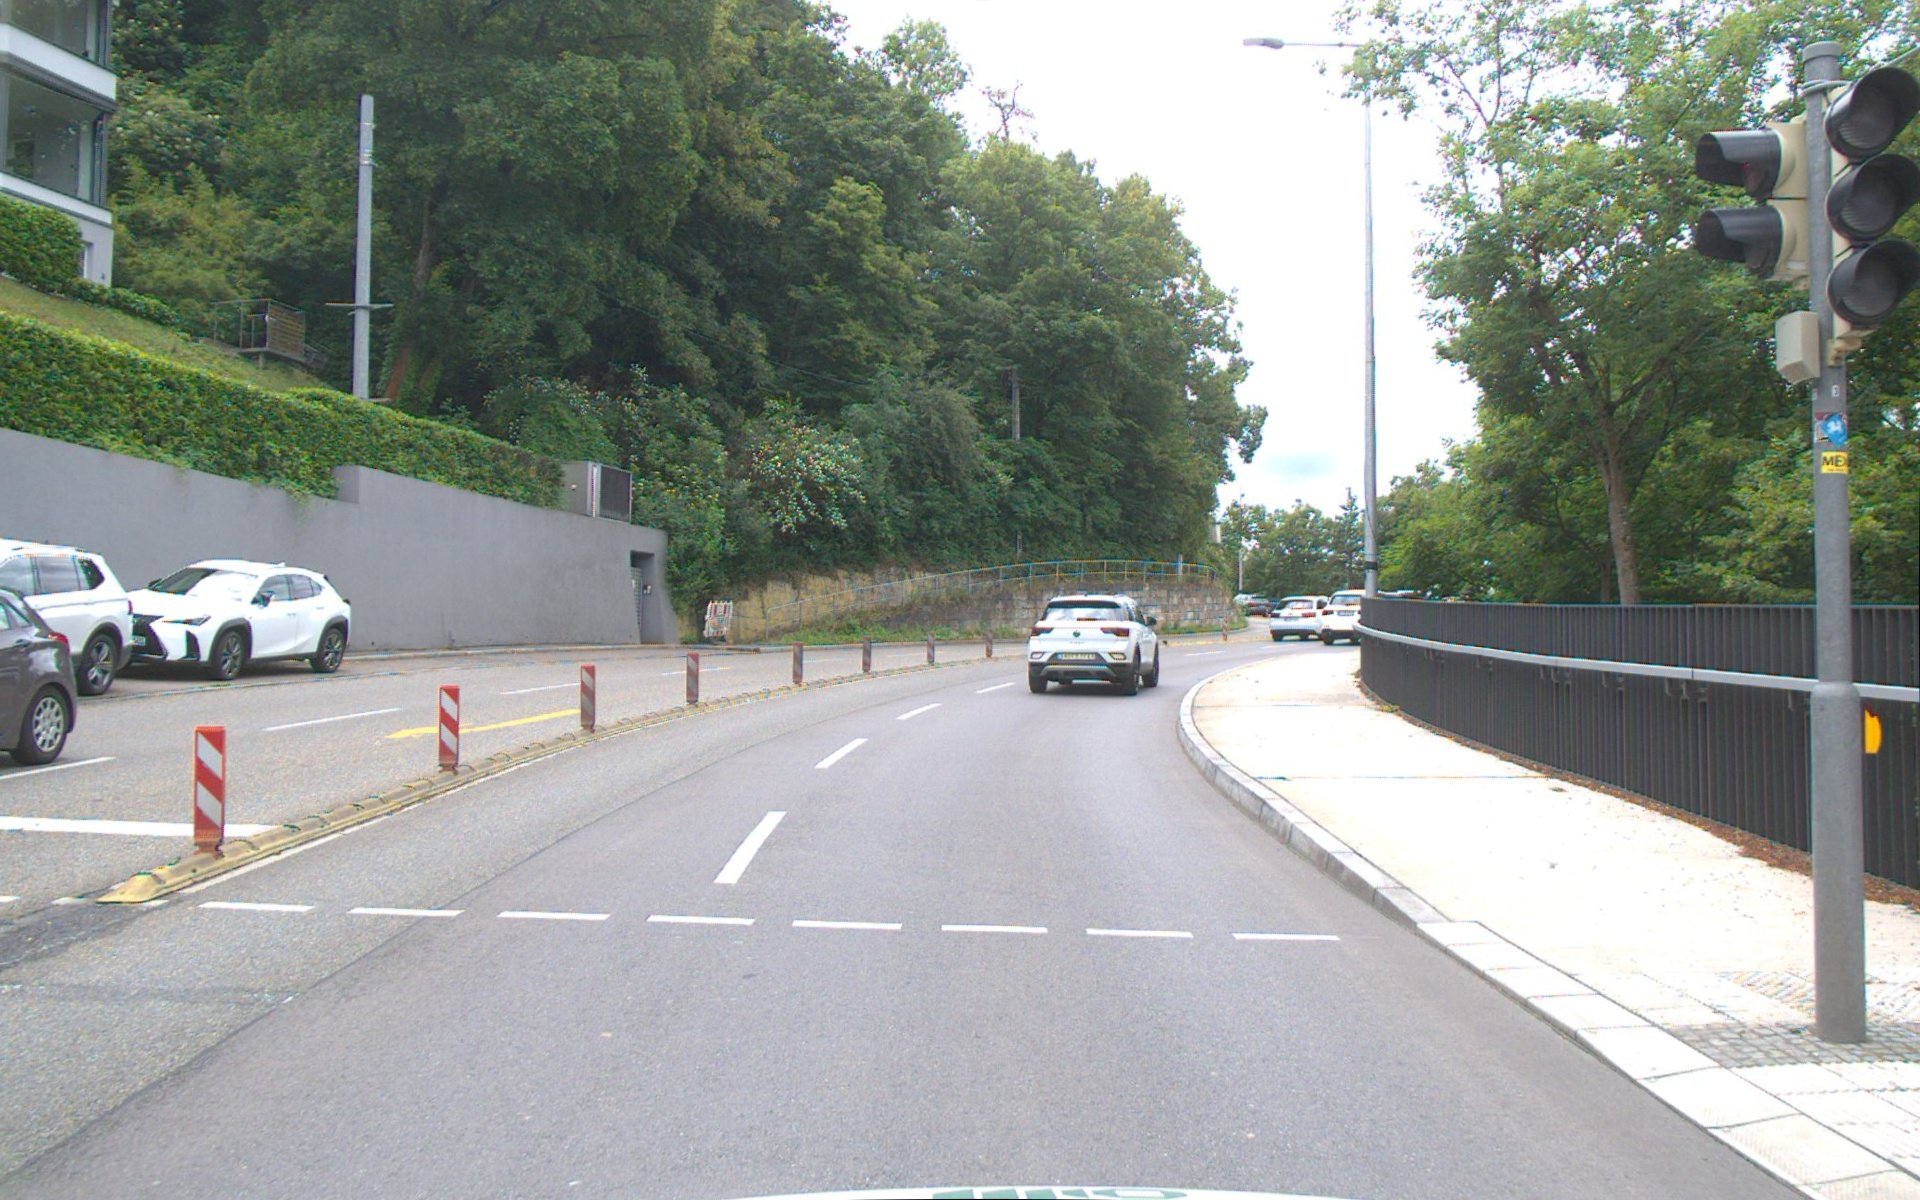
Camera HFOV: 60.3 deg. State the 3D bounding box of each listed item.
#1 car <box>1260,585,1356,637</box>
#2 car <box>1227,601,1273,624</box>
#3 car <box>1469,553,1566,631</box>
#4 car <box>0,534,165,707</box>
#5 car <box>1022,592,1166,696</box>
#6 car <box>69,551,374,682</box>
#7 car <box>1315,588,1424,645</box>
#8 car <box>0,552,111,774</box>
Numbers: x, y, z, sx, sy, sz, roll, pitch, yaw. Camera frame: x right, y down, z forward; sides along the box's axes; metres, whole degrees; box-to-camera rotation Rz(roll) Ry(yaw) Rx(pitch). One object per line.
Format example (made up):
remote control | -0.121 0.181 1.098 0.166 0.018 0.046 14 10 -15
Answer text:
car | 11.796 0.403 55.901 1.872 1.601 3.989 2 0 32
car | 21.568 0.937 123.134 1.874 1.601 3.986 3 0 -14
car | 19.907 -0.279 58.881 2.045 2.568 5.833 -3 -1 30
car | -10.669 0.160 17.737 1.821 1.761 4.762 3 0 1
car | 2.298 0.674 27.544 1.827 1.563 3.807 1 0 13
car | -10.272 0.230 23.441 1.794 1.600 4.478 2 0 8
car | 12.782 0.518 51.456 1.960 1.614 3.986 2 0 35
car | -7.873 0.436 11.497 1.676 1.625 4.207 1 0 1
